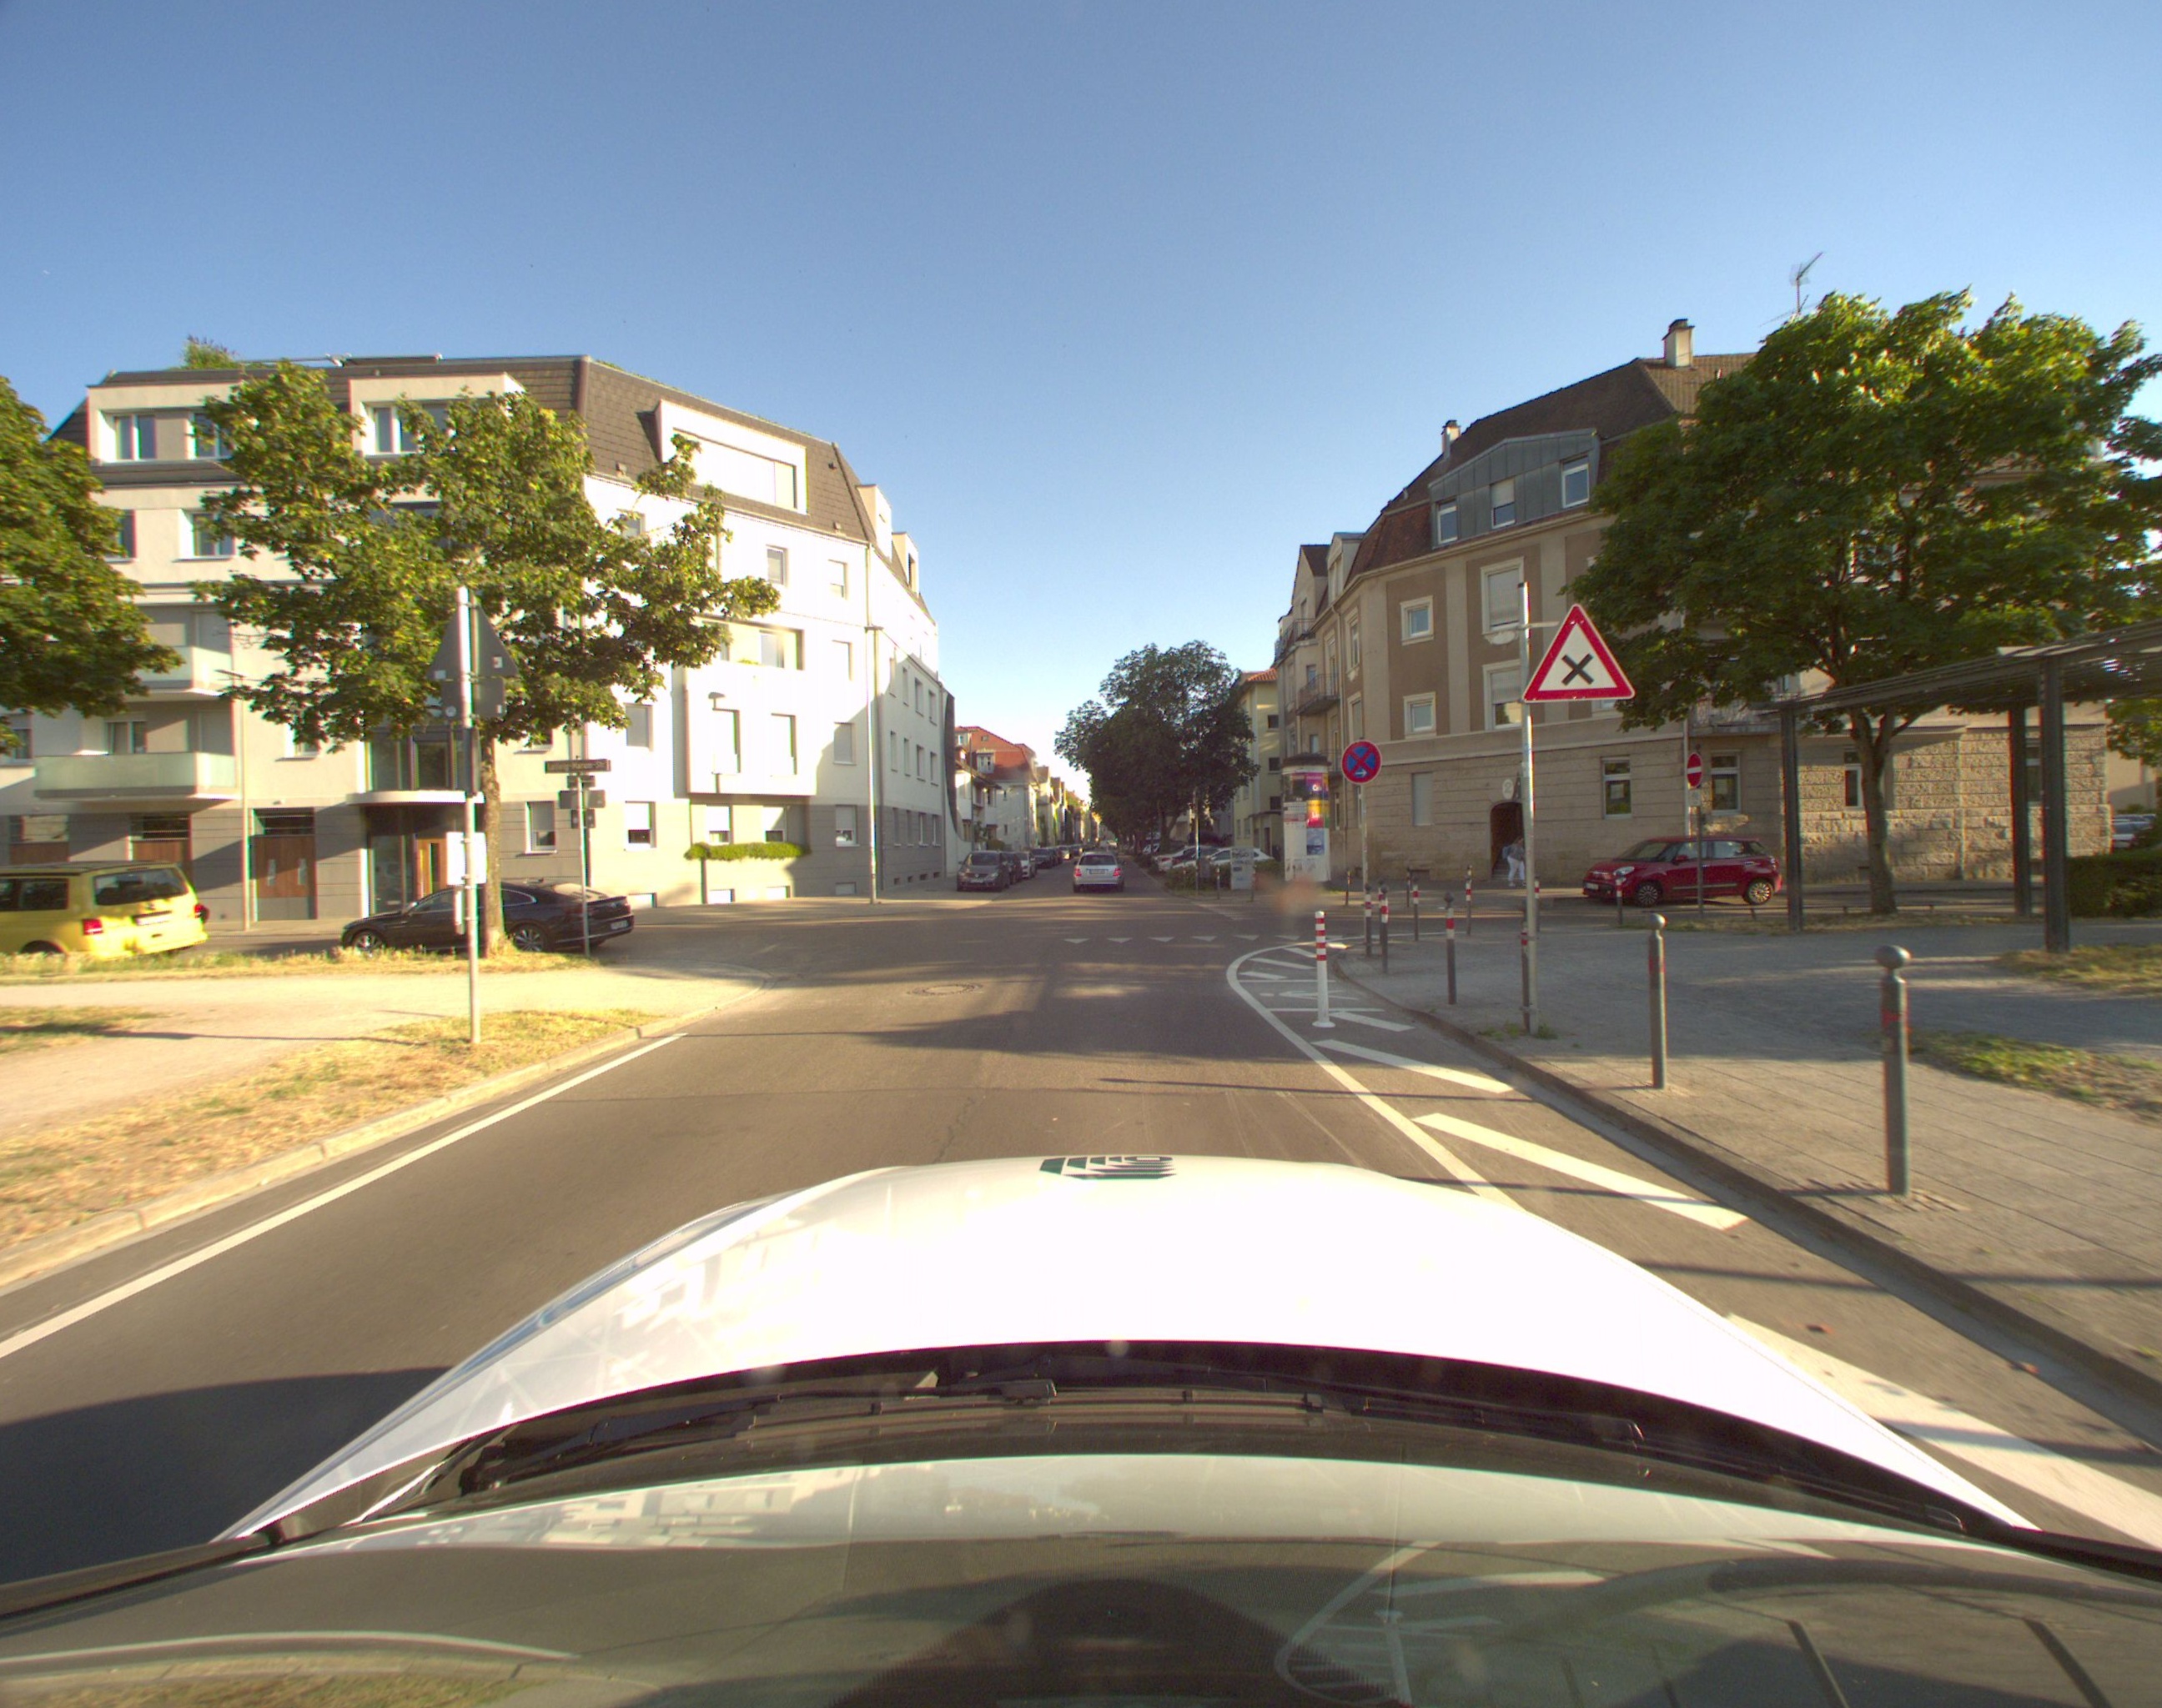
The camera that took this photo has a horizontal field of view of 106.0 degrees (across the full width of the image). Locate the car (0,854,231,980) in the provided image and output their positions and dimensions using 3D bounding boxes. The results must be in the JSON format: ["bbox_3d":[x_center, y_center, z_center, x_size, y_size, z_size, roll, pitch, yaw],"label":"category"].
[{"bbox_3d":[-19.272,1.126,15.116,4.662,2.013,2.034,-1,4,1],"label":"car"}]

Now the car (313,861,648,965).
[{"bbox_3d":[-10.835,1.031,14.912,4.804,1.669,1.790,-1,0,2],"label":"car"}]

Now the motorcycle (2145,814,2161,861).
[{"bbox_3d":[34.623,-0.531,24.458,0.850,1.487,3.220,-1,-1,-9],"label":"motorcycle"}]

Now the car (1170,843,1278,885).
[{"bbox_3d":[5.693,0.379,32.779,4.034,1.505,1.862,-2,1,0],"label":"car"}]

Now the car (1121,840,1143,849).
[{"bbox_3d":[9.151,-1.707,146.028,3.829,1.482,1.806,-2,1,2],"label":"car"}]

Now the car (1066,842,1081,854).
[{"bbox_3d":[-1.022,-0.854,113.366,1.792,1.482,3.859,-1,1,2],"label":"car"}]

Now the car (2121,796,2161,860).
[{"bbox_3d":[27.868,-0.663,19.279,4.057,1.533,1.814,-1,2,3],"label":"car"}]

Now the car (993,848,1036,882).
[{"bbox_3d":[-3.399,0.535,42.367,1.878,1.591,4.089,-1,1,0],"label":"car"}]

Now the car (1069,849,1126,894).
[{"bbox_3d":[0.671,0.592,29.745,1.808,1.473,4.222,-1,0,5],"label":"car"}]

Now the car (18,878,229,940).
[{"bbox_3d":[-25.354,1.424,21.642,3.703,1.422,1.628,-1,2,3],"label":"car"}]

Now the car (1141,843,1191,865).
[{"bbox_3d":[6.632,-0.012,63.552,3.717,1.558,1.725,-2,0,0],"label":"car"}]

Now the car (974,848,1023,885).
[{"bbox_3d":[-3.804,0.521,38.104,1.878,1.591,4.089,-1,1,0],"label":"car"}]

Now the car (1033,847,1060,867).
[{"bbox_3d":[-2.707,0.244,64.894,1.776,1.497,4.703,-1,0,2],"label":"car"}]

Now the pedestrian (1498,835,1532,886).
[{"bbox_3d":[13.569,0.188,25.472,0.811,1.545,0.746,-2,1,21],"label":"pedestrian"}]

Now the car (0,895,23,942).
[{"bbox_3d":[-30.518,1.758,21.188,3.709,1.240,1.624,-1,-1,-3],"label":"car"}]

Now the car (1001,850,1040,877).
[{"bbox_3d":[-3.458,0.499,47.374,1.751,1.447,4.145,-1,0,2],"label":"car"}]

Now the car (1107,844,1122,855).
[{"bbox_3d":[4.512,-0.630,110.142,1.808,1.473,4.222,-1,0,5],"label":"car"}]

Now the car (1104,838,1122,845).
[{"bbox_3d":[7.262,-2.779,186.764,1.542,1.474,4.219,0,-1,-42],"label":"car"}]

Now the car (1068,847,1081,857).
[{"bbox_3d":[-0.999,-0.294,129.451,1.792,1.482,3.859,-1,1,2],"label":"car"}]

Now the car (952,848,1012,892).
[{"bbox_3d":[-3.891,0.591,32.694,1.878,1.591,4.089,-1,1,0],"label":"car"}]

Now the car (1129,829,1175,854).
[{"bbox_3d":[8.960,-1.604,103.015,5.525,2.968,2.471,-2,1,-1],"label":"car"}]

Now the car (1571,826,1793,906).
[{"bbox_3d":[14.550,0.262,19.893,4.057,1.740,1.814,-1,3,3],"label":"car"}]

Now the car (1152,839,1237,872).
[{"bbox_3d":[6.321,0.057,45.825,4.511,1.640,1.874,-2,0,0],"label":"car"}]

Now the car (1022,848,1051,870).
[{"bbox_3d":[-3.186,0.361,59.117,1.848,1.497,4.653,-1,0,-1],"label":"car"}]

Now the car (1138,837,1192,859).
[{"bbox_3d":[7.409,-0.521,72.102,4.608,1.836,1.955,-1,1,1],"label":"car"}]

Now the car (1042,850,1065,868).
[{"bbox_3d":[-2.380,0.433,71.229,1.653,1.488,3.756,-1,0,2],"label":"car"}]

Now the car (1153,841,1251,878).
[{"bbox_3d":[5.941,0.229,40.265,4.468,1.525,1.951,-3,2,-4],"label":"car"}]

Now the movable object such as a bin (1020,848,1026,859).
[{"bbox_3d":[-6.048,-0.051,84.906,0.525,1.107,0.590,-1,-1,2],"label":"movable object such as a bin"}]

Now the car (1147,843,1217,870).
[{"bbox_3d":[6.417,0.169,52.010,4.176,1.558,1.874,-2,1,0],"label":"car"}]

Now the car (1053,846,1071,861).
[{"bbox_3d":[-1.958,-0.100,85.701,1.653,1.499,3.756,-1,0,2],"label":"car"}]
